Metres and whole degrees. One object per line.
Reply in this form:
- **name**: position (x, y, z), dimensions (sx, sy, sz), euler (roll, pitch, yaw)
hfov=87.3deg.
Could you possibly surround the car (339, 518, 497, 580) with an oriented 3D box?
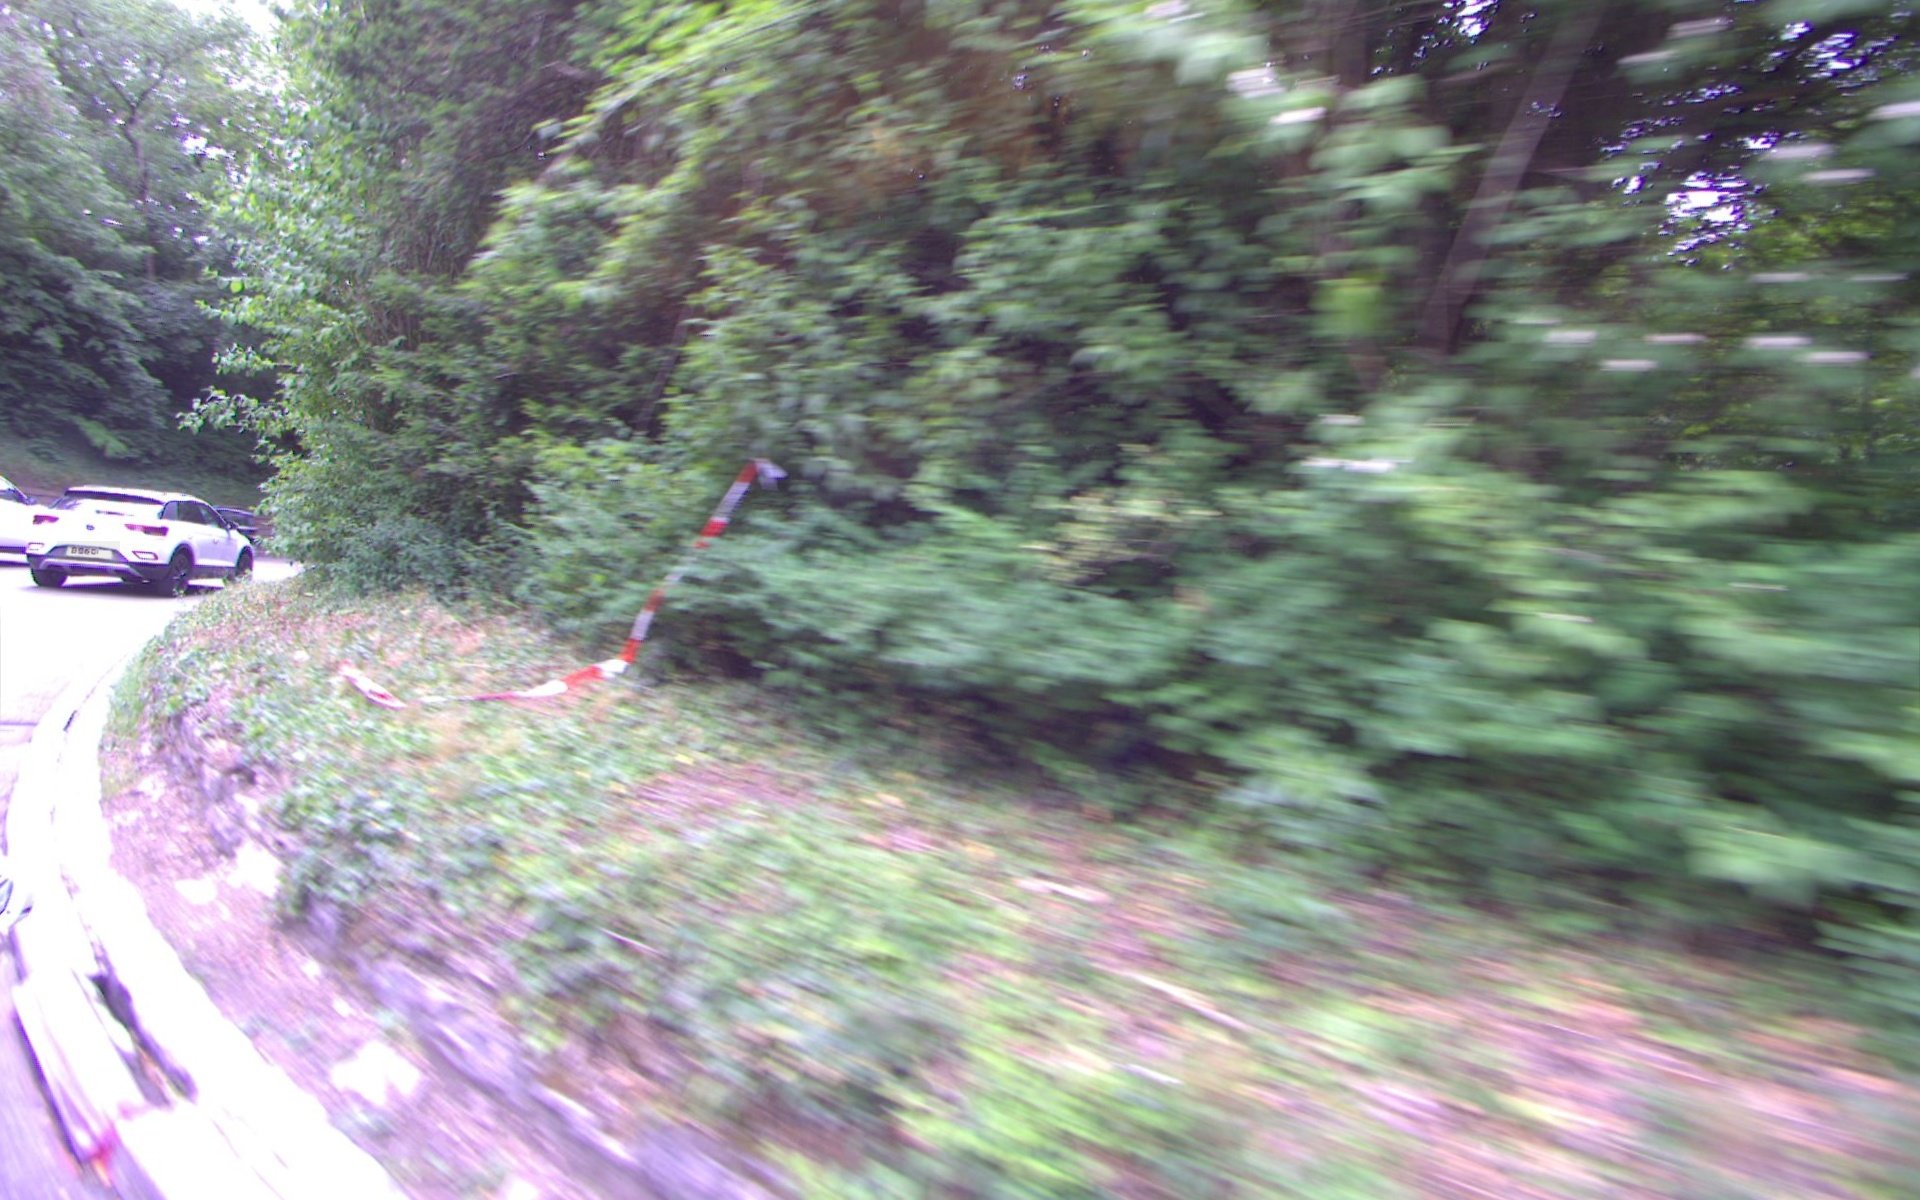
- **car**: position (-17.830, -1.626, 33.403), dimensions (1.835, 1.553, 4.776), euler (6, 1, 12)

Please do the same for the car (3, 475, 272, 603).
- **car**: position (-12.945, -0.922, 16.217), dimensions (1.734, 1.572, 4.320), euler (7, 0, -17)

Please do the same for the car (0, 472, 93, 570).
- **car**: position (-16.785, -1.421, 16.575), dimensions (1.836, 1.625, 4.654), euler (7, 0, -15)
